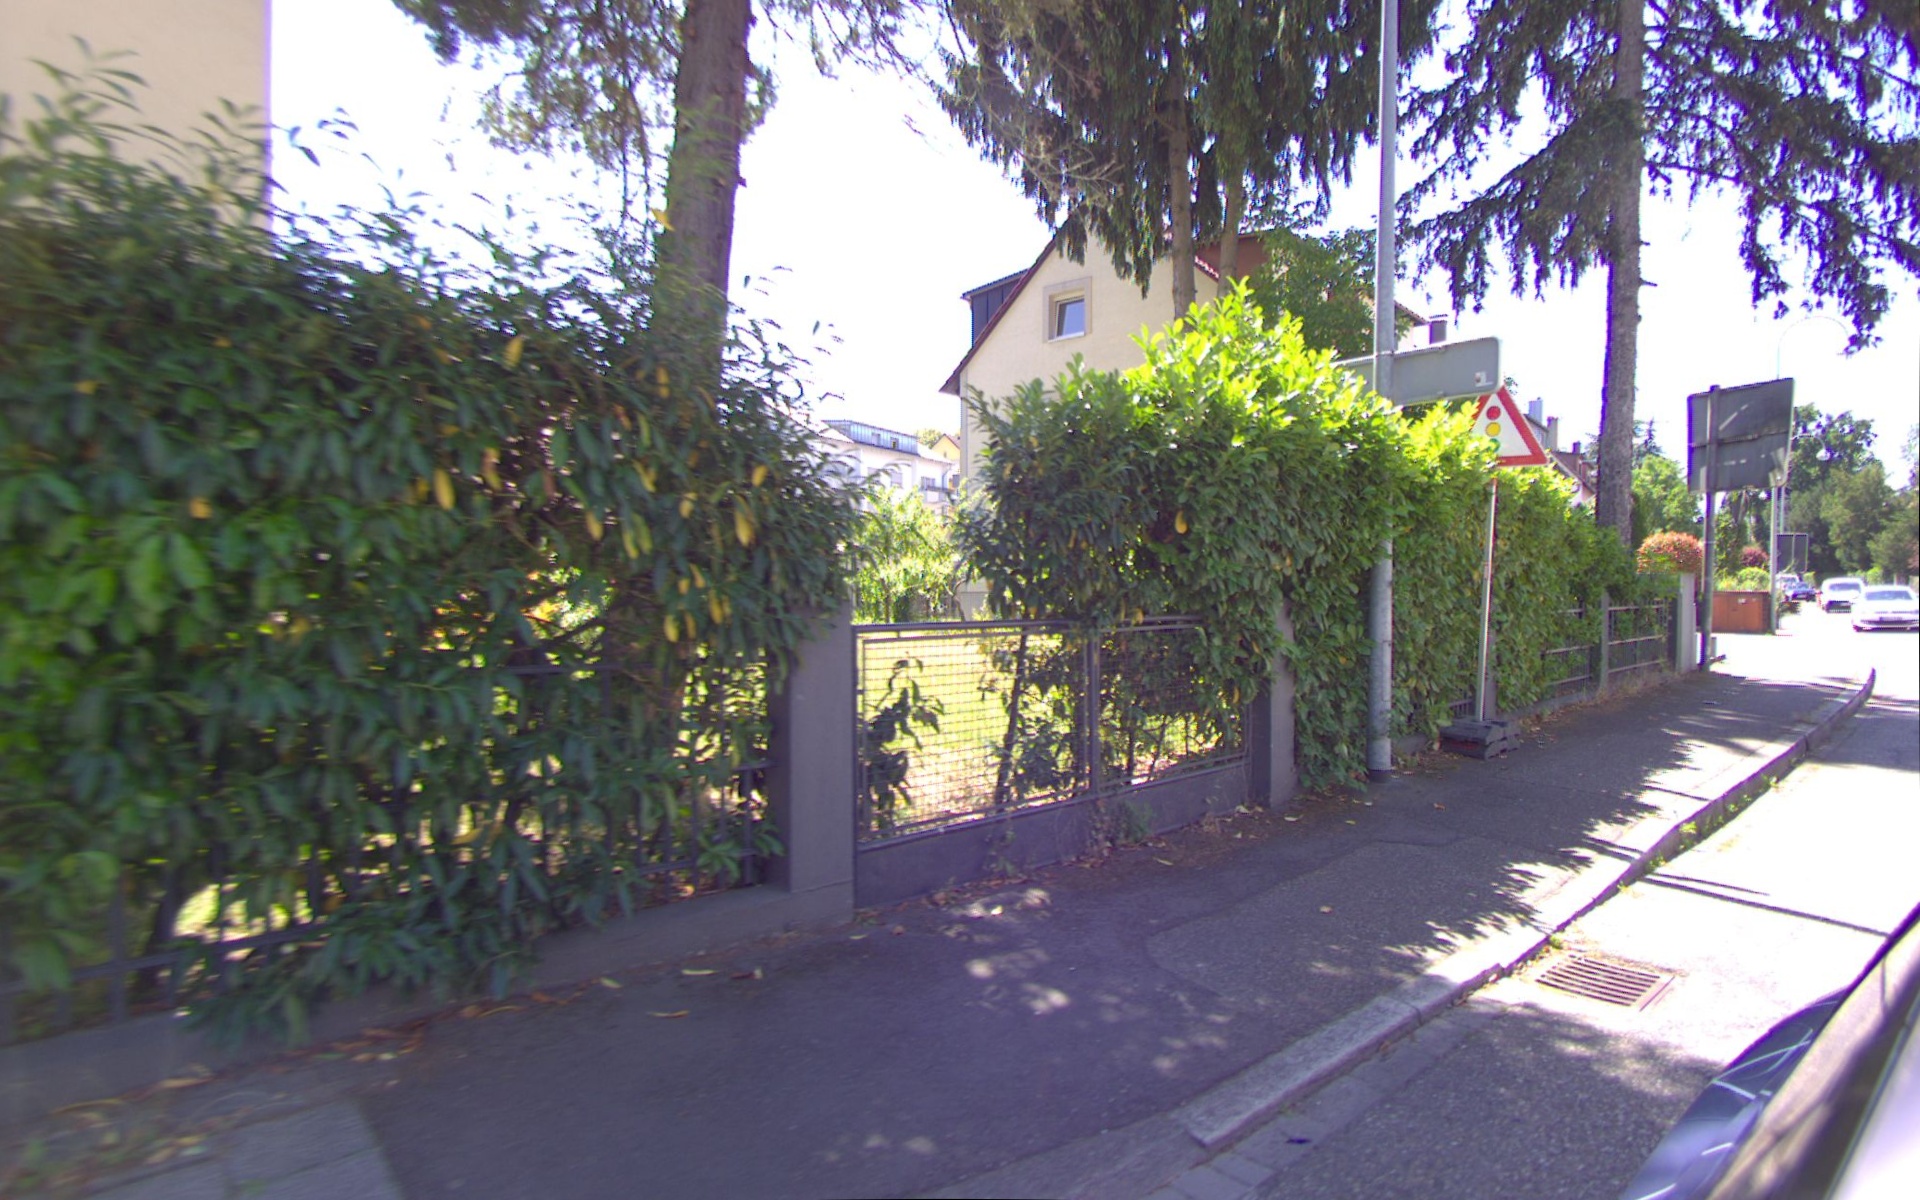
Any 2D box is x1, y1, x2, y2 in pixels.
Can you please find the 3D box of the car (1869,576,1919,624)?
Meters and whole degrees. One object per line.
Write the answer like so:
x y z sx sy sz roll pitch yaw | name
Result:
30.560 -0.034 32.692 1.682 1.473 3.685 -1 0 41 | car

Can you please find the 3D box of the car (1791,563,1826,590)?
60.267 -1.702 71.903 1.680 1.802 3.888 -2 1 38 | car

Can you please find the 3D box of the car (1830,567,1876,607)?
45.868 -0.703 52.026 1.682 1.801 3.884 -1 3 41 | car
